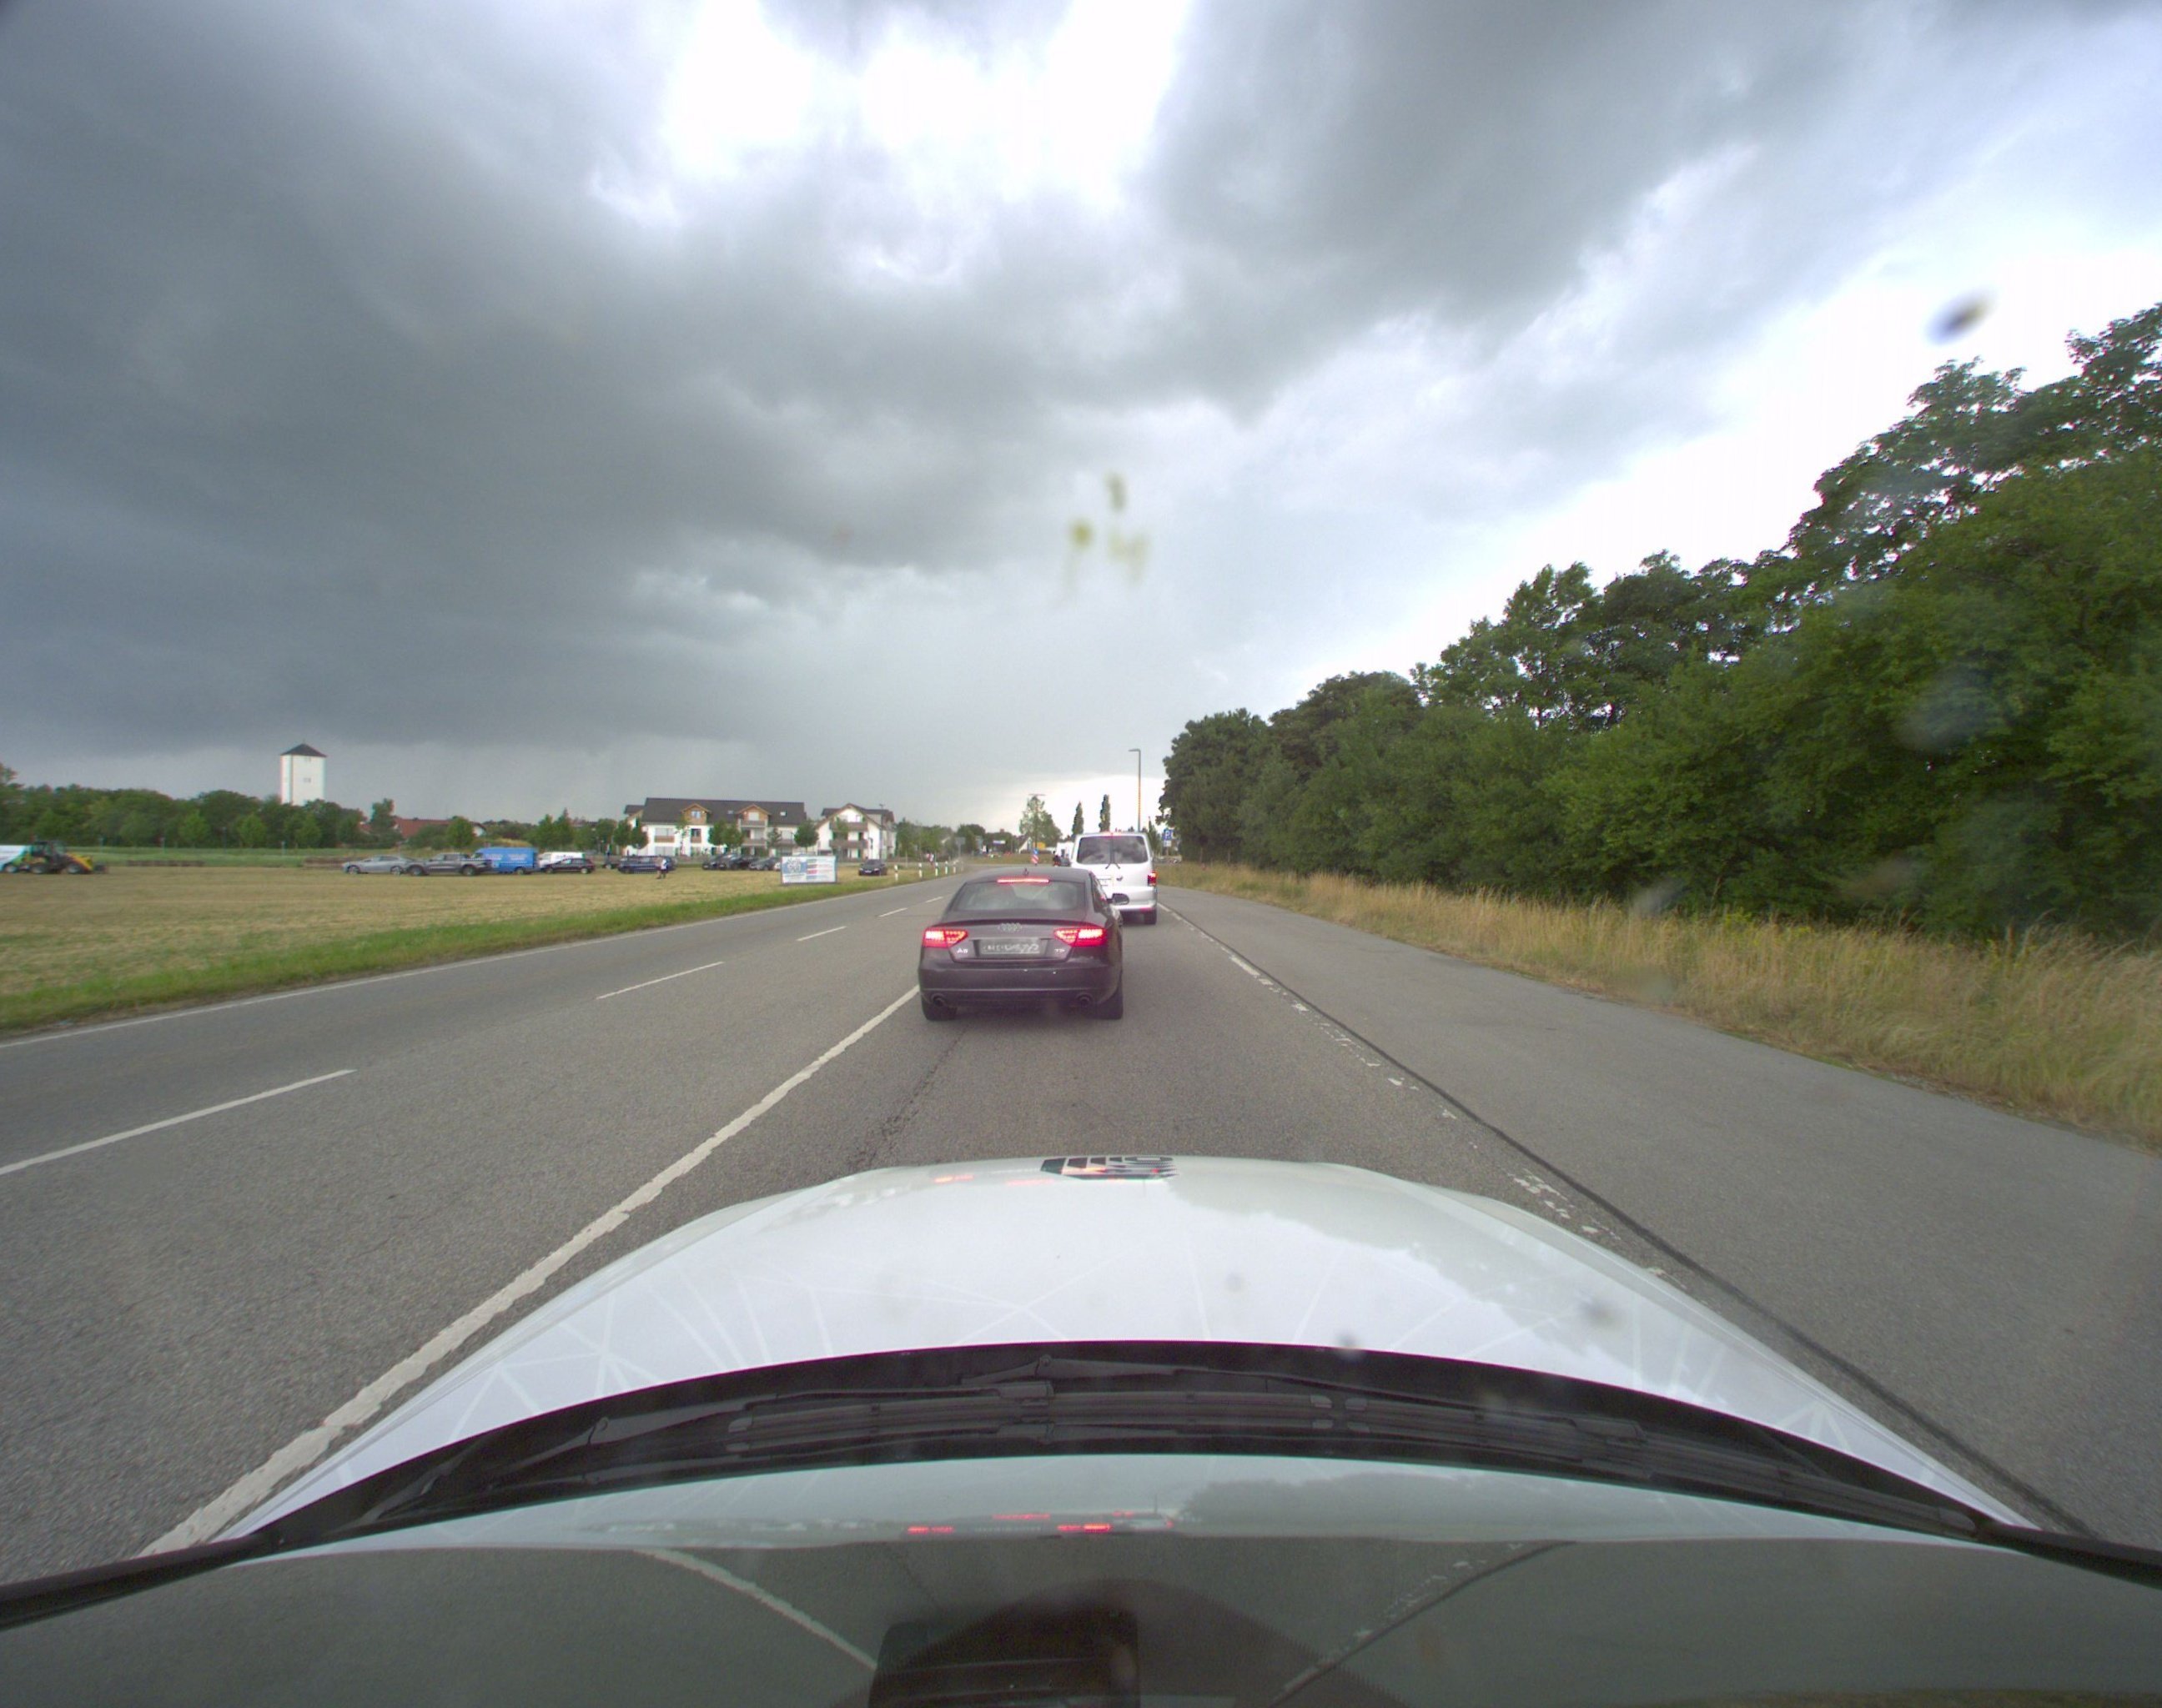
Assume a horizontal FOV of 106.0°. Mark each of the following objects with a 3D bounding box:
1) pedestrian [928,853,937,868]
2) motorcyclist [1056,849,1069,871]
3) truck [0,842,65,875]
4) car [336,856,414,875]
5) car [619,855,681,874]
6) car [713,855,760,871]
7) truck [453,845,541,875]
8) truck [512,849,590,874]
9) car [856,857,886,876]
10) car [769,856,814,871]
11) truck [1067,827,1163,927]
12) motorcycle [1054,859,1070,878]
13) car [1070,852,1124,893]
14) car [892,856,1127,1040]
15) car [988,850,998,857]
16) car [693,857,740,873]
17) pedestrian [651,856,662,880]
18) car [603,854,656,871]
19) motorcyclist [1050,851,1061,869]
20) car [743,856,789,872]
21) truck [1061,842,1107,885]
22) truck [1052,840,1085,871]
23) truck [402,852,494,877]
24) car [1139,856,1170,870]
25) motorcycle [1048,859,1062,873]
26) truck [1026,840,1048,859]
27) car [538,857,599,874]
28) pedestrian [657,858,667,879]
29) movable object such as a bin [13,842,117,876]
[{"bbox_3d":[-15.436,0.683,84.658,0.661,1.586,0.695,0,-1,-37],"label":"pedestrian"},{"bbox_3d":[-1.170,0.364,50.661,0.769,1.383,0.820,0,0,1],"label":"motorcyclist"},{"bbox_3d":[-75.932,0.309,56.548,6.075,2.217,2.697,0,0,-26],"label":"truck"},{"bbox_3d":[-55.929,0.905,64.631,4.316,1.461,1.876,0,0,-25],"label":"car"},{"bbox_3d":[-39.285,0.977,74.301,4.730,1.697,1.987,0,0,-19],"label":"car"},{"bbox_3d":[-34.616,0.871,82.000,1.977,1.629,4.232,0,0,20],"label":"car"},{"bbox_3d":[-48.283,0.479,67.446,5.469,2.446,2.377,0,0,-22],"label":"truck"},{"bbox_3d":[-48.731,0.676,74.994,5.586,2.196,2.588,0,0,-22],"label":"truck"},{"bbox_3d":[-17.523,1.016,68.097,1.993,1.442,3.987,0,1,-9],"label":"car"},{"bbox_3d":[-28.733,0.930,81.042,1.977,1.446,4.232,0,0,20],"label":"car"},{"bbox_3d":[0.747,0.452,18.533,1.897,1.998,4.630,0,0,2],"label":"truck"},{"bbox_3d":[-1.182,0.893,50.655,0.917,1.094,2.189,0,0,1],"label":"motorcycle"},{"bbox_3d":[0.620,0.688,32.114,1.987,1.485,4.000,0,0,1],"label":"car"},{"bbox_3d":[-0.461,0.758,8.607,1.867,1.454,4.180,0,0,3],"label":"car"},{"bbox_3d":[-20.561,-0.197,190.274,1.989,1.642,3.996,1,0,-3],"label":"car"},{"bbox_3d":[-37.635,1.112,84.227,1.977,1.629,4.232,0,0,20],"label":"car"},{"bbox_3d":[-32.220,1.048,61.791,0.548,1.786,0.676,0,0,-10],"label":"pedestrian"},{"bbox_3d":[-47.594,0.902,85.975,4.639,1.697,1.987,0,0,-19],"label":"car"},{"bbox_3d":[-2.016,0.463,64.317,0.783,1.356,0.854,0,0,1],"label":"motorcyclist"},{"bbox_3d":[-31.477,0.951,81.496,1.977,1.535,4.232,0,0,20],"label":"car"},{"bbox_3d":[0.206,0.464,41.162,2.185,2.013,5.086,0,0,2],"label":"truck"},{"bbox_3d":[-1.233,0.150,75.611,2.622,2.737,5.856,1,0,-5],"label":"truck"},{"bbox_3d":[-49.084,0.783,63.271,5.252,1.920,2.095,0,0,-25],"label":"truck"},{"bbox_3d":[10.707,1.311,118.559,3.953,2.014,2.010,1,0,21],"label":"car"},{"bbox_3d":[-2.018,0.947,64.387,0.940,1.019,2.285,0,0,2],"label":"motorcycle"},{"bbox_3d":[-8.681,-0.960,160.778,3.573,3.578,9.932,1,0,-7],"label":"truck"},{"bbox_3d":[-45.296,1.016,72.105,4.168,1.519,1.987,0,0,-19],"label":"car"},{"bbox_3d":[-32.295,1.123,62.731,0.591,1.555,0.622,0,0,-18],"label":"pedestrian"},{"bbox_3d":[-69.421,0.327,55.719,4.006,2.243,1.869,0,0,-27],"label":"movable object such as a bin"}]
